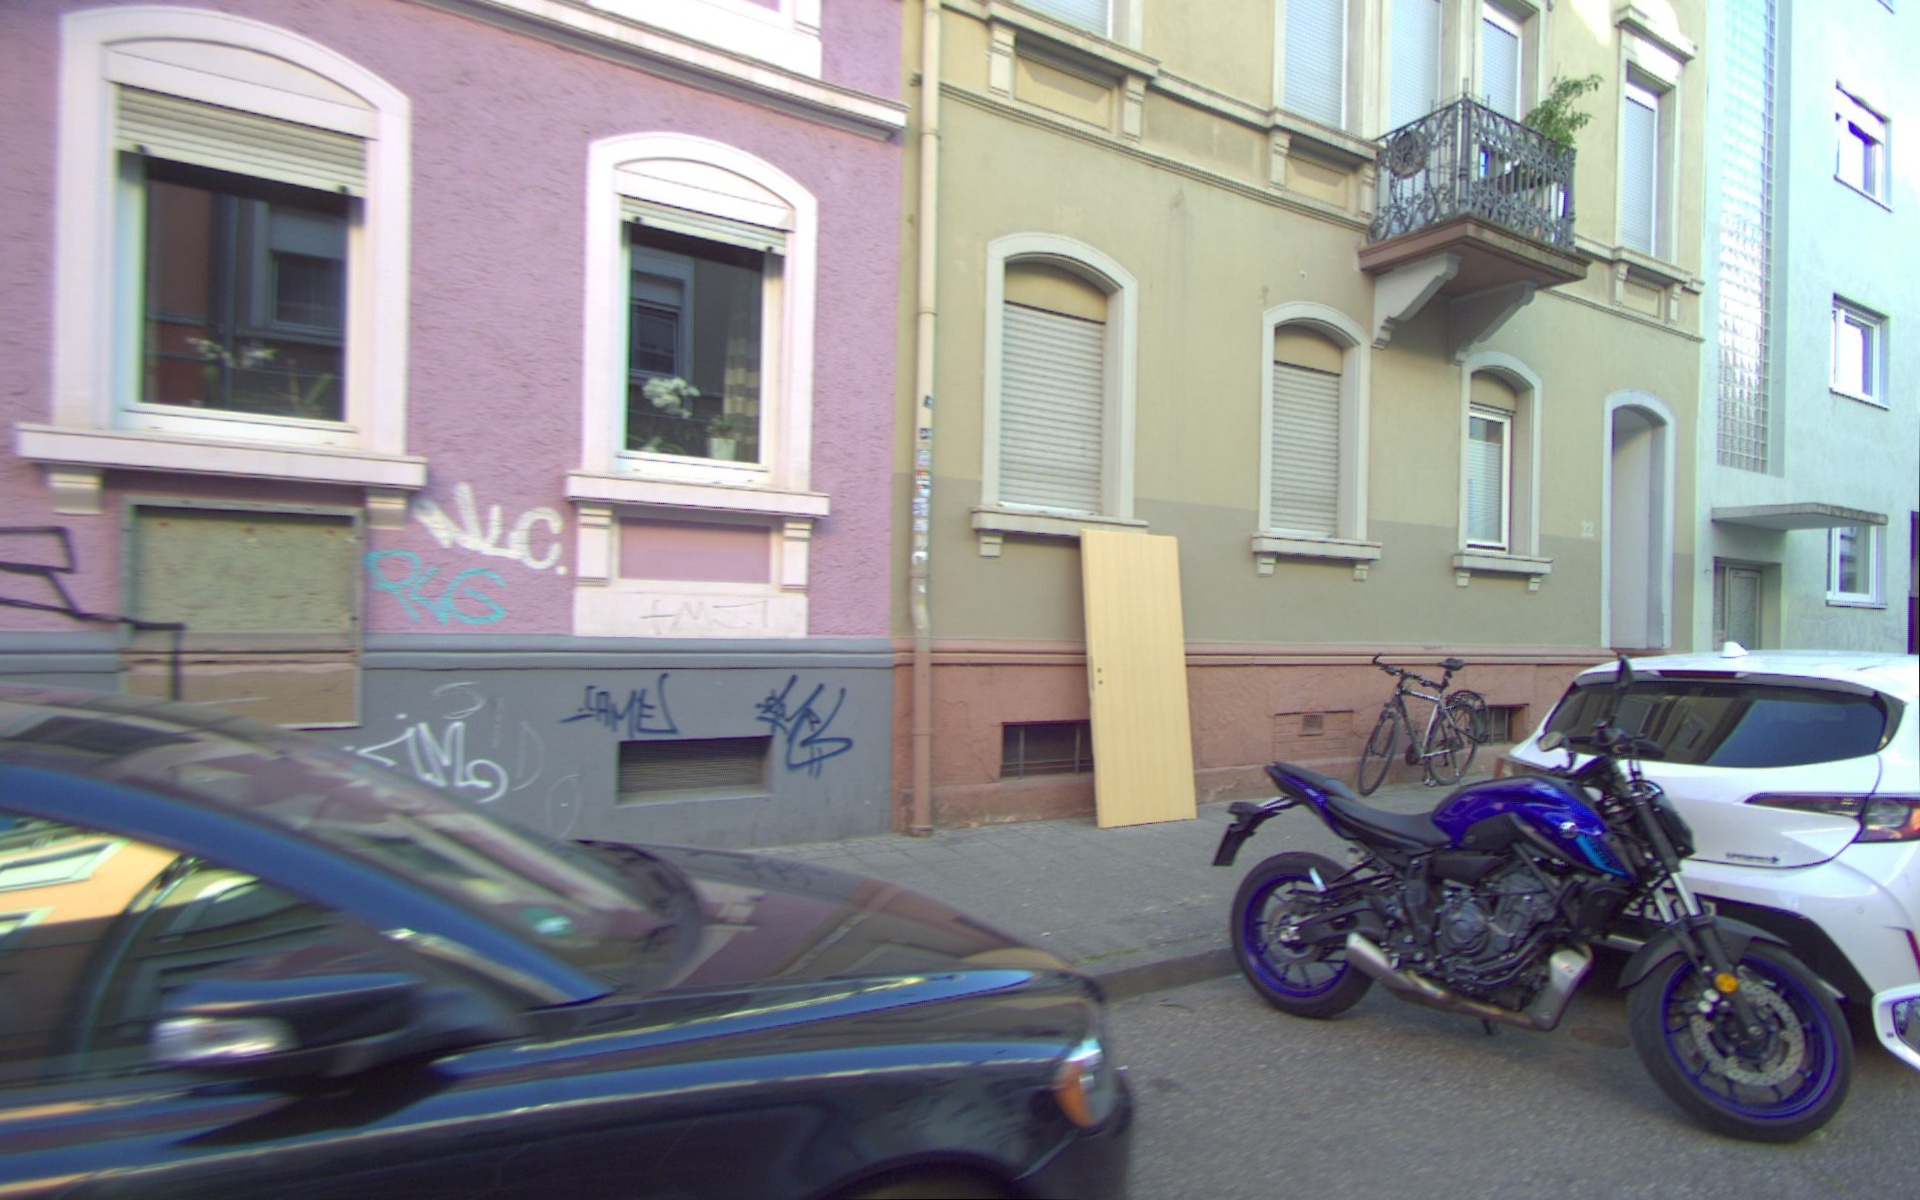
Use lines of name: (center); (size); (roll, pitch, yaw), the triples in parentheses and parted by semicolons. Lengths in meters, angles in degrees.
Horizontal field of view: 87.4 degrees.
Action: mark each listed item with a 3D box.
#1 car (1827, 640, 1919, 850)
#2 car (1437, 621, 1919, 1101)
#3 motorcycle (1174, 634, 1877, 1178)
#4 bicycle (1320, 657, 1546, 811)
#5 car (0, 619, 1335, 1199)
car: (8.448, 1.058, 7.656); (3.724, 1.460, 1.664); (2, -3, -31)
car: (4.283, 0.901, 4.821); (4.119, 1.460, 1.663); (2, -4, -32)
motorcycle: (1.868, 0.863, 3.650); (2.123, 1.377, 0.537); (2, 0, 43)
bicycle: (3.916, 1.048, 8.253); (2.054, 1.103, 0.590); (2, 0, -30)
car: (-1.582, 0.737, 1.606); (4.301, 1.402, 1.704); (1, -1, -28)
